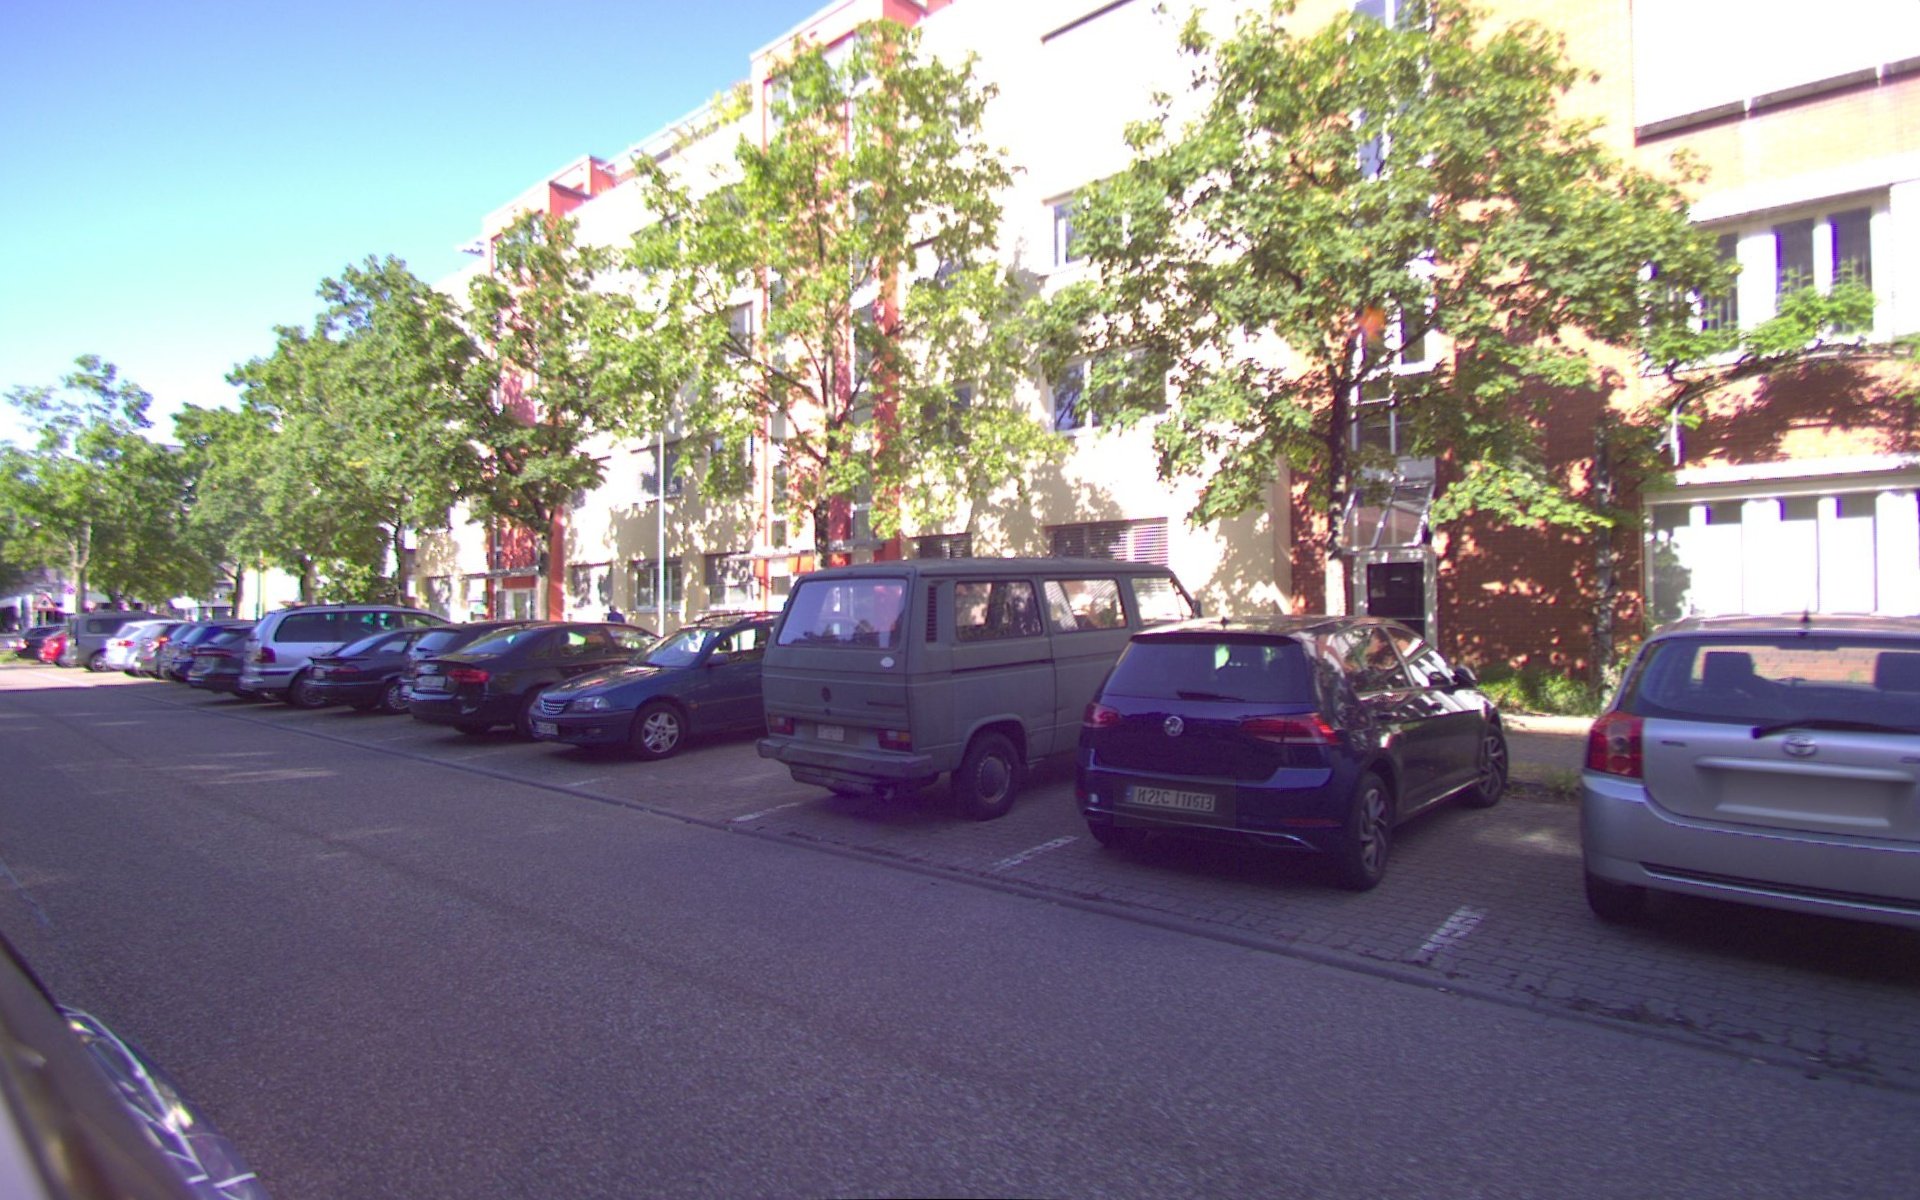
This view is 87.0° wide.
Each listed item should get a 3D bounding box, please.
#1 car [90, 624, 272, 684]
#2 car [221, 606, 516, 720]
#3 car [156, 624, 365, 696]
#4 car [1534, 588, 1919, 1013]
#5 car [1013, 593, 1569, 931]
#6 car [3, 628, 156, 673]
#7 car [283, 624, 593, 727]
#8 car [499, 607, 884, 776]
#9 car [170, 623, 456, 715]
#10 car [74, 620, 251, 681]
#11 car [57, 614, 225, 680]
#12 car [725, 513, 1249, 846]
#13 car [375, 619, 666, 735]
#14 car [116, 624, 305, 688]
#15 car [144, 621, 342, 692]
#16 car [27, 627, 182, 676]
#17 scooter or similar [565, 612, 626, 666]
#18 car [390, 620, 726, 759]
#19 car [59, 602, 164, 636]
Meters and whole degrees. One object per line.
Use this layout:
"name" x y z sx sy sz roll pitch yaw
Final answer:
"car" -21.787 1.463 28.416 1.873 1.458 3.691 -2 0 37
"car" -10.636 1.038 18.394 4.270 1.730 1.964 -1 0 -44
"car" -16.331 1.345 23.745 1.839 1.438 3.688 -2 0 40
"car" 4.704 0.707 5.356 1.943 1.488 4.273 -2 0 43
"car" 2.482 0.748 6.849 1.943 1.488 4.273 -2 0 43
"car" -32.898 1.836 37.879 1.740 1.434 4.214 -2 0 45
"car" -8.602 1.159 16.978 1.756 1.368 4.277 -2 0 40
"car" -2.967 0.910 11.879 1.724 1.539 4.089 -2 0 41
"car" -12.439 1.245 19.716 1.771 1.438 4.359 -2 0 39
"car" -23.759 1.459 30.236 1.858 1.586 3.853 -2 0 40
"car" -25.663 1.422 31.806 1.785 1.825 3.851 -2 0 41
"car" 0.469 0.486 8.732 2.083 2.105 4.439 -2 0 43
"car" -6.576 1.063 15.436 1.724 1.438 3.688 -2 0 40
"car" -19.906 1.443 26.984 1.857 1.458 3.691 -2 0 37
"car" -17.904 1.354 25.377 1.858 1.520 3.688 -2 0 40
"car" -29.377 1.728 34.841 1.738 1.434 3.851 -2 0 41
"scooter or similar" -10.203 1.080 28.310 2.108 1.457 0.647 -2 -3 41
"car" -5.107 1.037 13.200 1.724 1.438 3.688 -2 0 41
"car" -53.522 1.192 63.954 1.983 2.000 4.743 -2 -1 18
